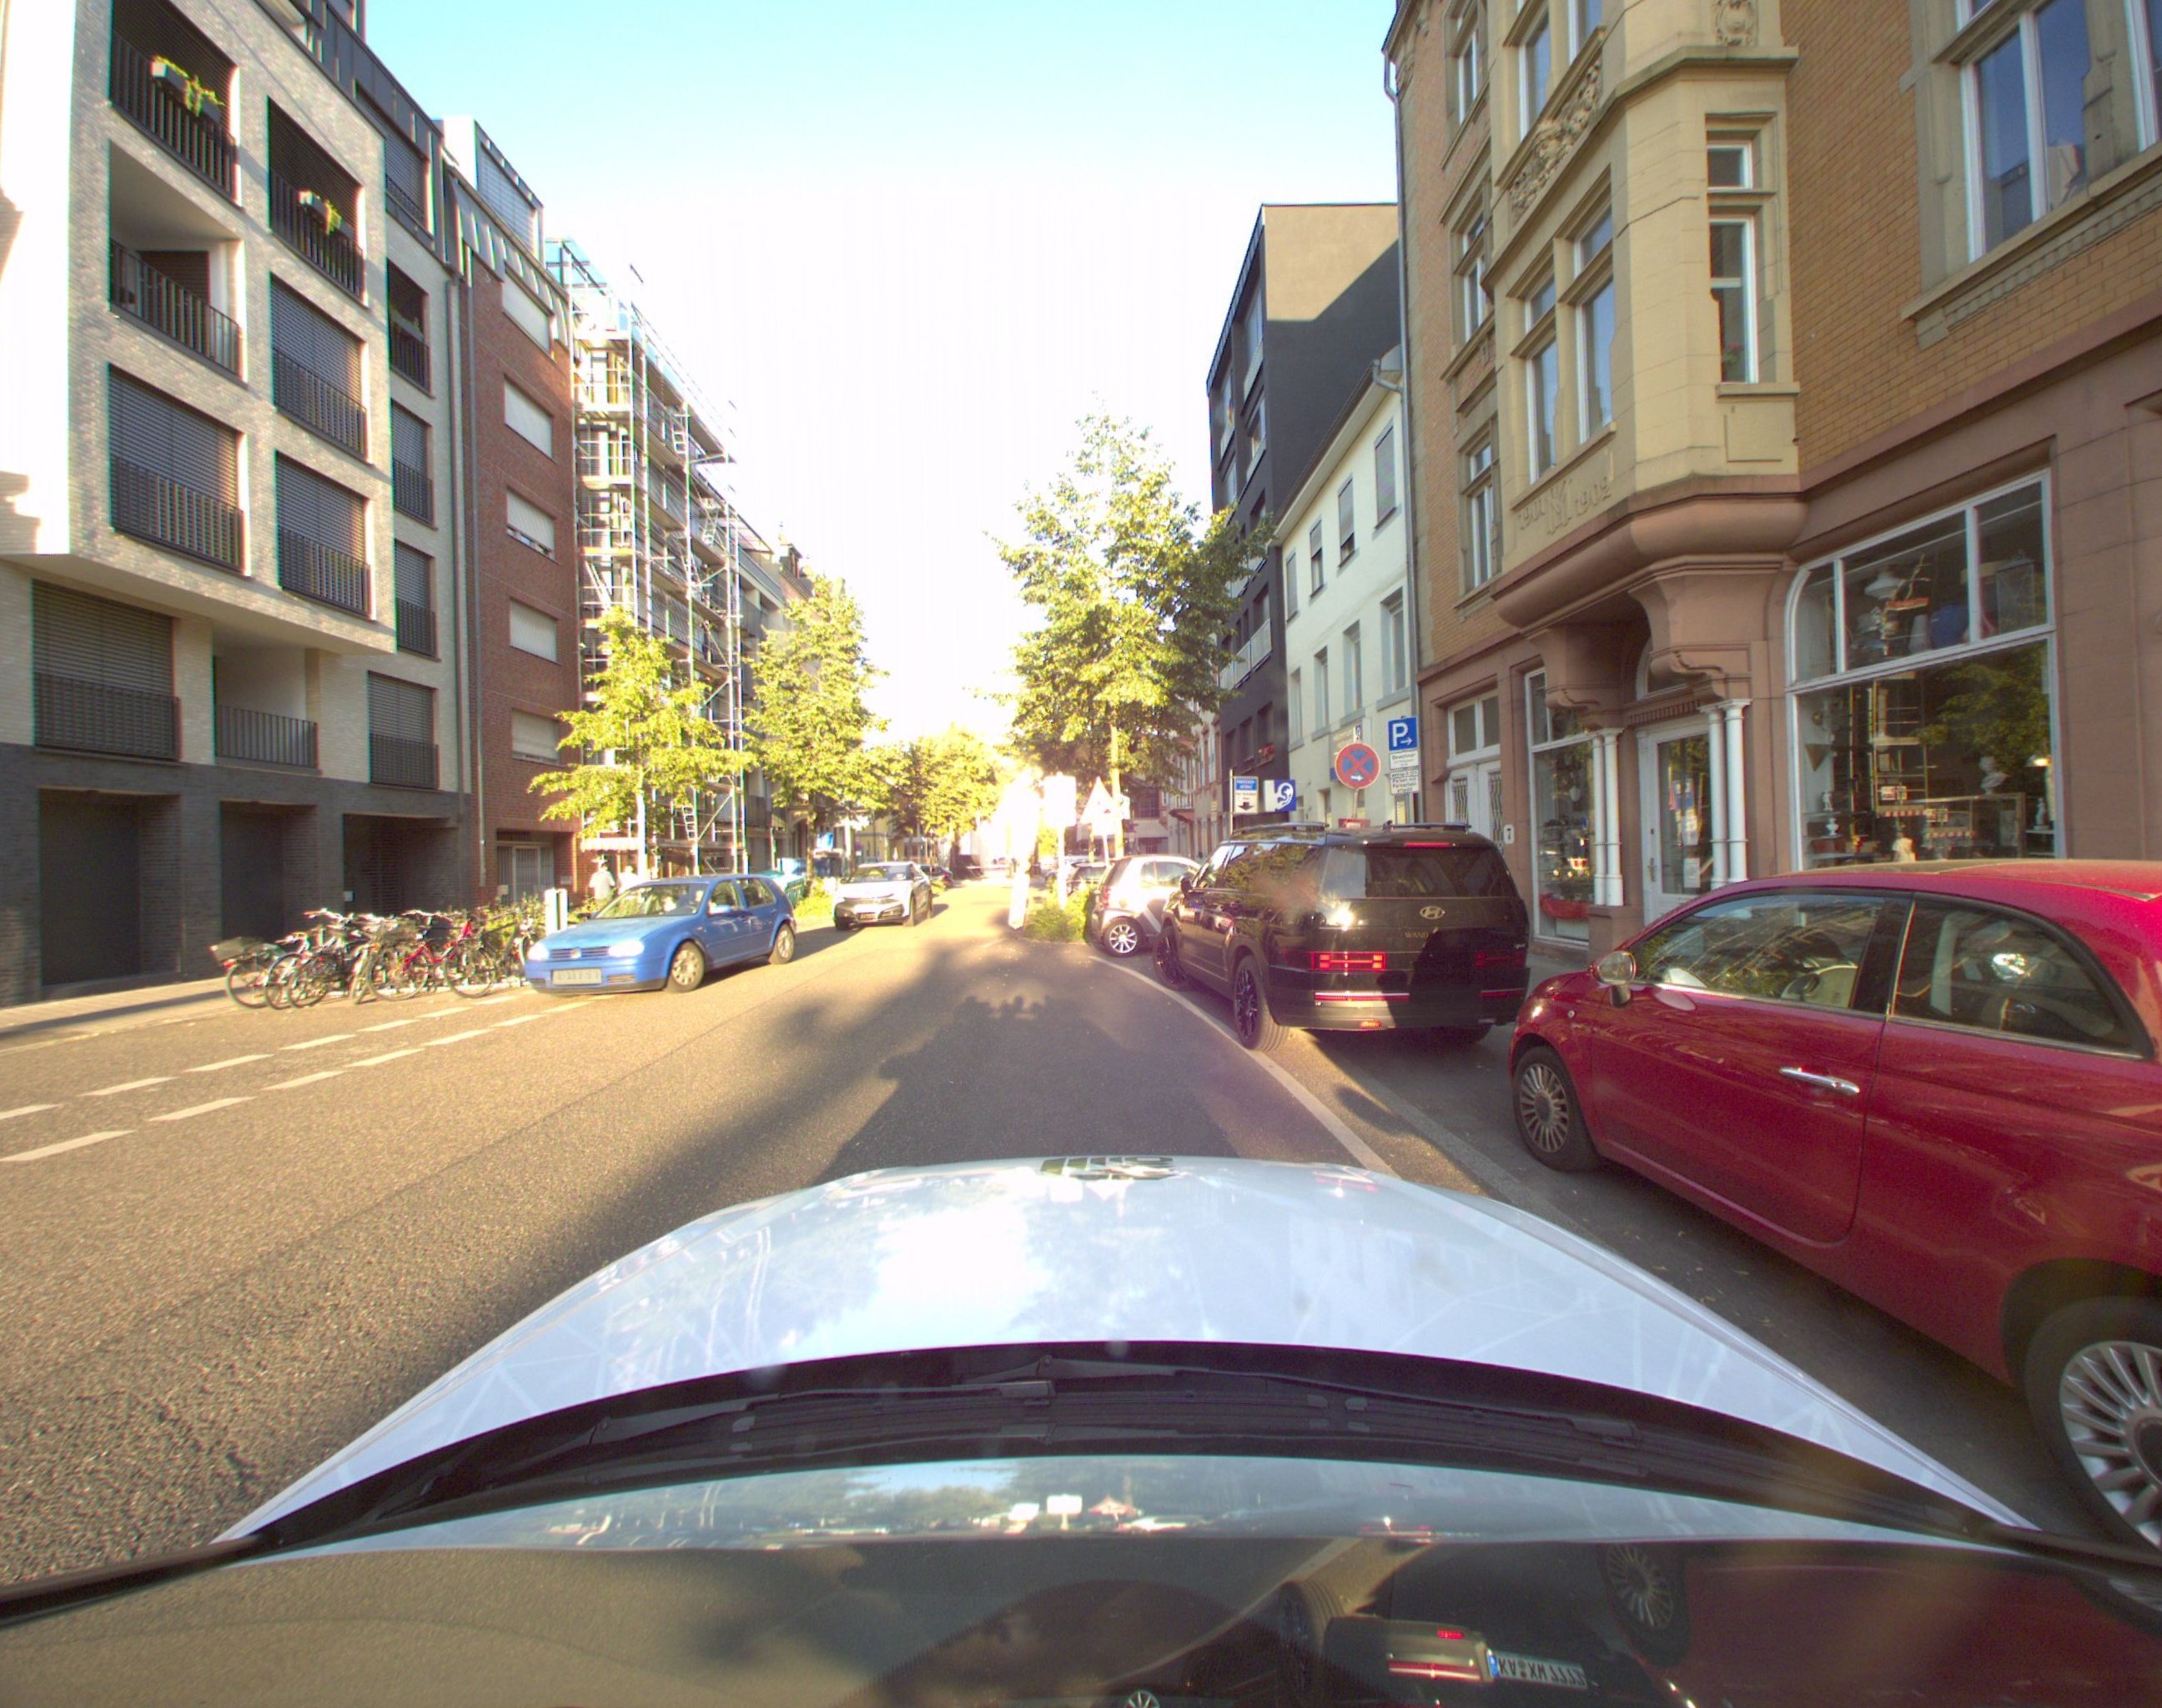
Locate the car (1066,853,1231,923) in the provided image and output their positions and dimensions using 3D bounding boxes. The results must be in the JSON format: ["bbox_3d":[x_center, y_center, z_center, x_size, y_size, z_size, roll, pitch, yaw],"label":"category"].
[{"bbox_3d":[1.638,0.836,20.803,3.987,1.670,1.856,0,-1,-4],"label":"car"}]

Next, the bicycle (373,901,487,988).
[{"bbox_3d":[-9.802,1.331,12.334,0.466,1.144,1.551,-2,0,-1],"label":"bicycle"}]

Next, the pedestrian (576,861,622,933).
[{"bbox_3d":[-12.356,1.080,20.906,0.739,1.783,0.656,-2,-1,-1],"label":"pedestrian"}]

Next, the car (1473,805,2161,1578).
[{"bbox_3d":[2.962,0.682,2.880,1.520,1.570,3.422,-1,0,0],"label":"car"}]

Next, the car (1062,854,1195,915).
[{"bbox_3d":[1.303,0.843,23.552,3.677,1.670,1.856,0,-1,-4],"label":"car"}]

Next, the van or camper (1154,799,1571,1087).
[{"bbox_3d":[2.055,0.570,7.501,1.887,1.807,4.451,-1,0,-6],"label":"van or camper"}]

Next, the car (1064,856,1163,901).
[{"bbox_3d":[1.224,0.912,31.602,3.677,1.670,1.856,0,-1,-4],"label":"car"}]

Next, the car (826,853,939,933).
[{"bbox_3d":[-4.897,0.912,20.732,1.868,1.697,4.317,-4,0,-2],"label":"car"}]

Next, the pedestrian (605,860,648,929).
[{"bbox_3d":[-12.056,1.066,21.623,0.739,1.783,0.656,-2,-1,-3],"label":"pedestrian"}]

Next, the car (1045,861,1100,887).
[{"bbox_3d":[-0.496,1.268,52.179,1.834,1.568,3.720,-1,-1,32],"label":"car"}]

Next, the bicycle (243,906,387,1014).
[{"bbox_3d":[-9.834,1.323,10.527,0.385,1.189,1.551,-2,0,-1],"label":"bicycle"}]

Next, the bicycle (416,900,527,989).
[{"bbox_3d":[-9.104,1.321,12.241,0.486,1.149,1.551,-2,0,-1],"label":"bicycle"}]

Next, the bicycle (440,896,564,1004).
[{"bbox_3d":[-7.523,1.206,10.664,0.496,1.220,1.551,-2,0,-1],"label":"bicycle"}]

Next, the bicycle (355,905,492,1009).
[{"bbox_3d":[-8.509,1.297,10.618,0.415,1.157,1.554,-2,0,4],"label":"bicycle"}]

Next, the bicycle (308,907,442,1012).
[{"bbox_3d":[-9.072,1.316,10.537,0.379,1.159,1.551,-2,0,-1],"label":"bicycle"}]

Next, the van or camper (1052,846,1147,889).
[{"bbox_3d":[0.845,0.646,39.131,4.430,2.005,1.856,0,-1,-4],"label":"van or camper"}]

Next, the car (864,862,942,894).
[{"bbox_3d":[-10.071,1.328,46.255,3.973,1.684,1.891,-1,0,1],"label":"car"}]

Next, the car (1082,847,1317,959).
[{"bbox_3d":[1.859,0.733,13.228,3.470,1.575,1.502,-2,0,-10],"label":"car"}]

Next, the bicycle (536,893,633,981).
[{"bbox_3d":[-7.539,1.231,12.437,0.506,1.179,1.551,-2,0,-1],"label":"bicycle"}]

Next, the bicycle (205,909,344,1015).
[{"bbox_3d":[-10.373,1.350,10.535,0.386,1.183,1.405,-2,0,-1],"label":"bicycle"}]

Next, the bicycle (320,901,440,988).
[{"bbox_3d":[-10.500,1.325,12.261,0.456,1.132,1.551,-2,0,-1],"label":"bicycle"}]

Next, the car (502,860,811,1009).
[{"bbox_3d":[-5.401,0.909,11.076,1.680,1.563,4.124,-3,0,5],"label":"car"}]

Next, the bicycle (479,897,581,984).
[{"bbox_3d":[-8.343,1.273,12.402,0.486,1.163,1.551,-2,0,-1],"label":"bicycle"}]

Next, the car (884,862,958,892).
[{"bbox_3d":[-9.579,1.349,48.945,3.973,1.684,1.891,-1,0,1],"label":"car"}]

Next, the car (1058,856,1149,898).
[{"bbox_3d":[0.914,0.938,34.073,3.677,1.670,1.856,0,-1,-4],"label":"car"}]
